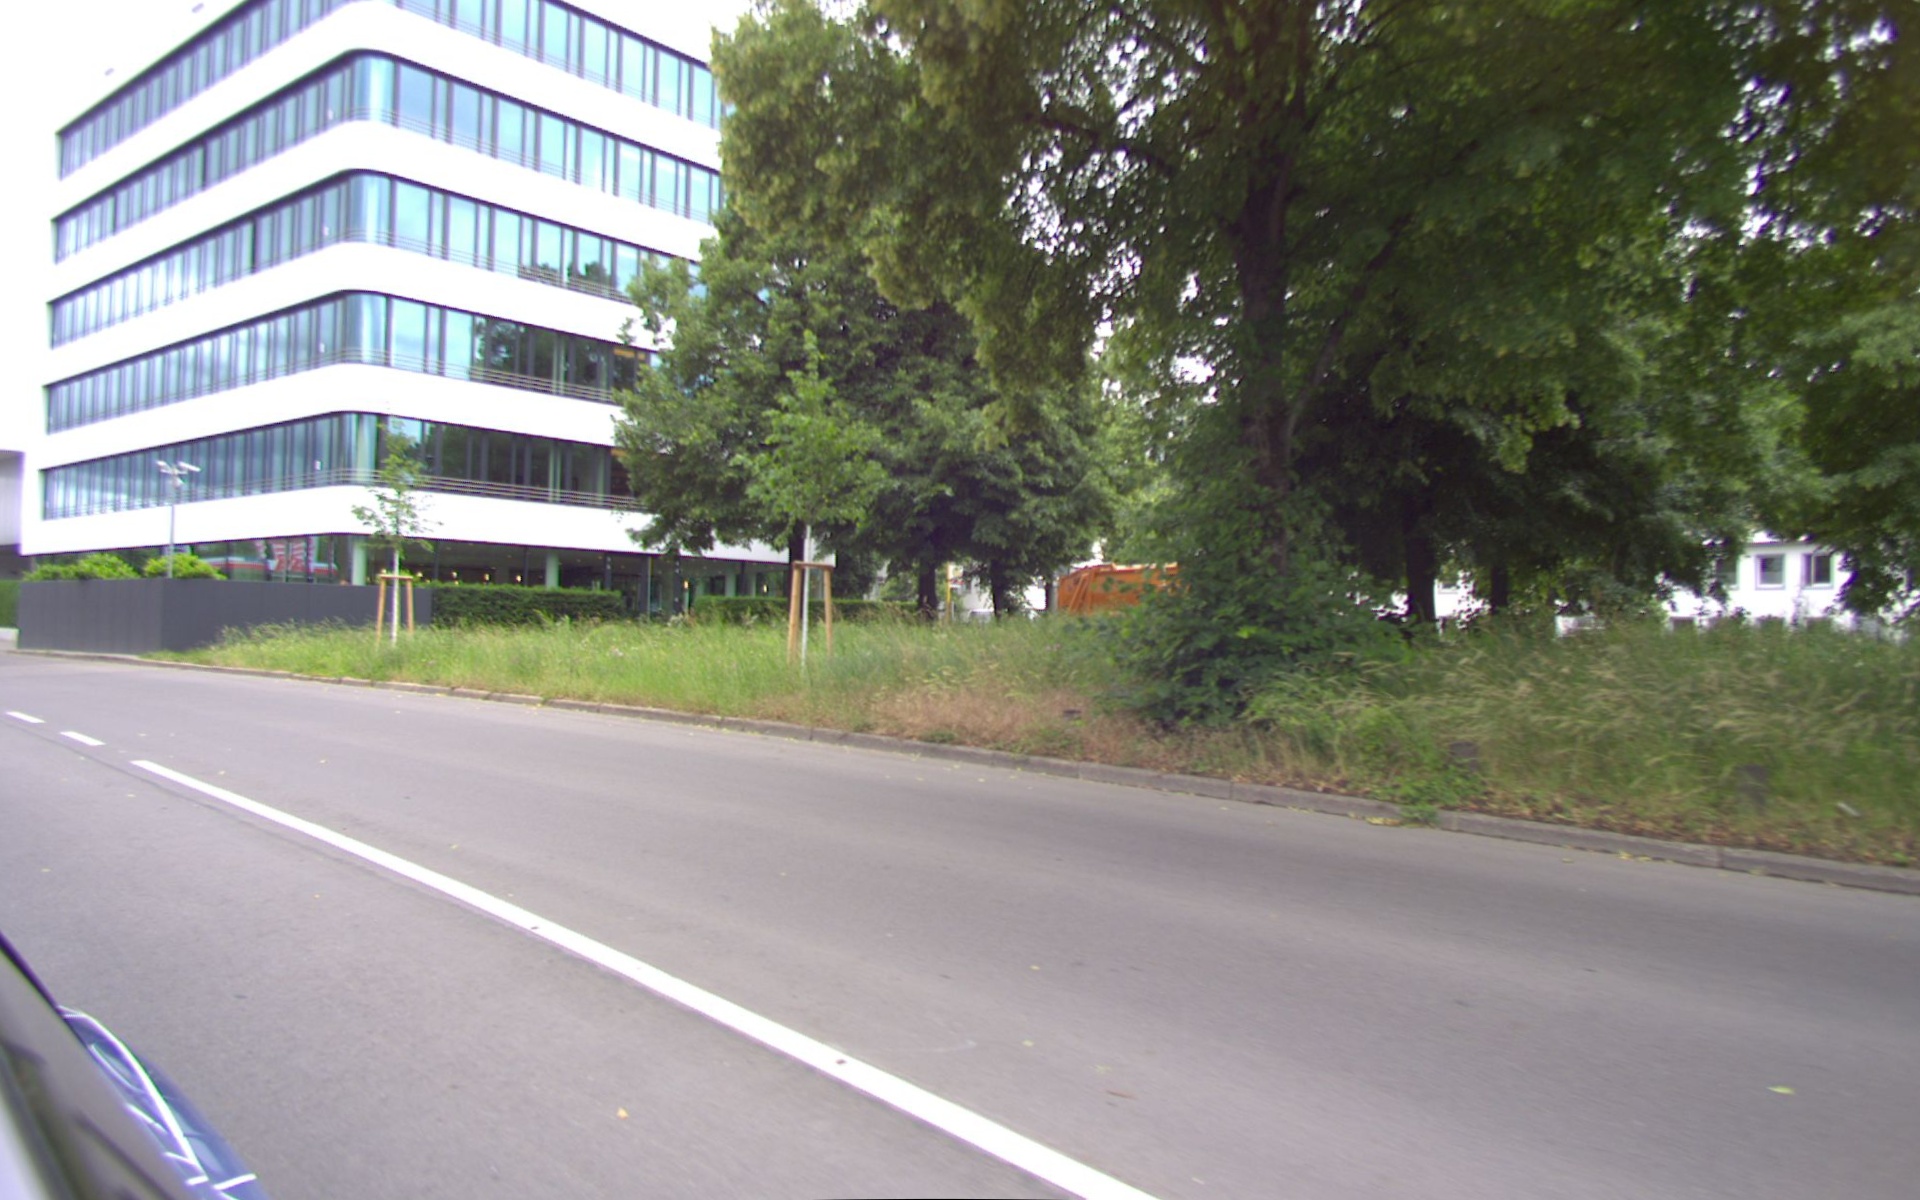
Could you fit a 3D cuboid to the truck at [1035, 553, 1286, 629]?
[{"bbox_3d":[7.453,-0.175,39.577,2.935,2.541,10.270,3,-3,-37],"label":"truck"}]
